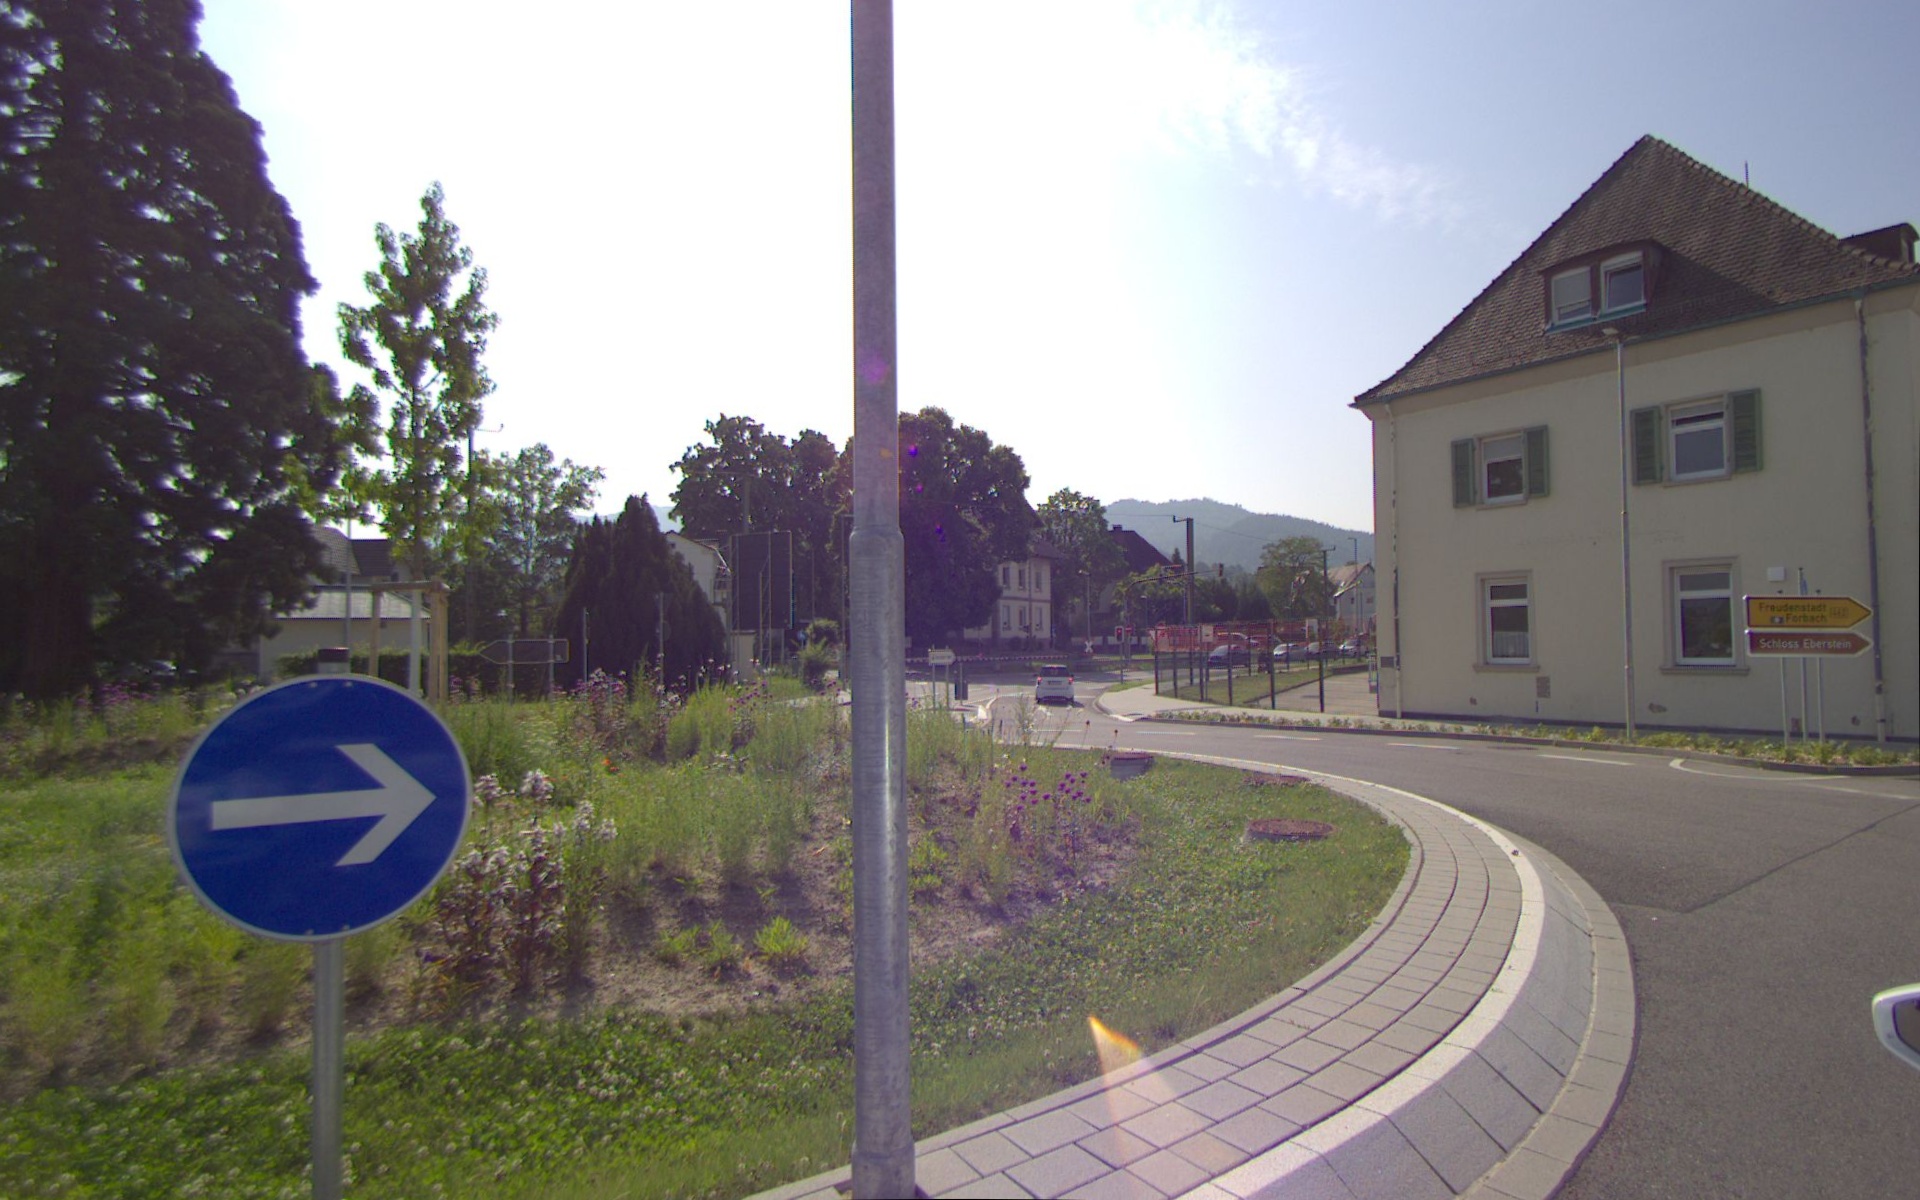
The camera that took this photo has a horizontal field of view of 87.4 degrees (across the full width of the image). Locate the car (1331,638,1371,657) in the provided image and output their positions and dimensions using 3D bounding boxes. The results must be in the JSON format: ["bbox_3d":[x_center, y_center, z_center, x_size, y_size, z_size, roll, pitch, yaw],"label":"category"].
[{"bbox_3d":[32.727,3.958,84.013,1.692,1.416,3.974,0,0,45],"label":"car"}]

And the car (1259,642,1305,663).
[{"bbox_3d":[24.059,3.911,75.015,1.692,1.416,3.974,0,0,45],"label":"car"}]

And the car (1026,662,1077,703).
[{"bbox_3d":[3.773,3.414,41.999,1.681,1.416,3.999,0,0,-1],"label":"car"}]

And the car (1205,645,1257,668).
[{"bbox_3d":[18.673,3.880,69.147,1.692,1.416,3.974,0,0,45],"label":"car"}]
